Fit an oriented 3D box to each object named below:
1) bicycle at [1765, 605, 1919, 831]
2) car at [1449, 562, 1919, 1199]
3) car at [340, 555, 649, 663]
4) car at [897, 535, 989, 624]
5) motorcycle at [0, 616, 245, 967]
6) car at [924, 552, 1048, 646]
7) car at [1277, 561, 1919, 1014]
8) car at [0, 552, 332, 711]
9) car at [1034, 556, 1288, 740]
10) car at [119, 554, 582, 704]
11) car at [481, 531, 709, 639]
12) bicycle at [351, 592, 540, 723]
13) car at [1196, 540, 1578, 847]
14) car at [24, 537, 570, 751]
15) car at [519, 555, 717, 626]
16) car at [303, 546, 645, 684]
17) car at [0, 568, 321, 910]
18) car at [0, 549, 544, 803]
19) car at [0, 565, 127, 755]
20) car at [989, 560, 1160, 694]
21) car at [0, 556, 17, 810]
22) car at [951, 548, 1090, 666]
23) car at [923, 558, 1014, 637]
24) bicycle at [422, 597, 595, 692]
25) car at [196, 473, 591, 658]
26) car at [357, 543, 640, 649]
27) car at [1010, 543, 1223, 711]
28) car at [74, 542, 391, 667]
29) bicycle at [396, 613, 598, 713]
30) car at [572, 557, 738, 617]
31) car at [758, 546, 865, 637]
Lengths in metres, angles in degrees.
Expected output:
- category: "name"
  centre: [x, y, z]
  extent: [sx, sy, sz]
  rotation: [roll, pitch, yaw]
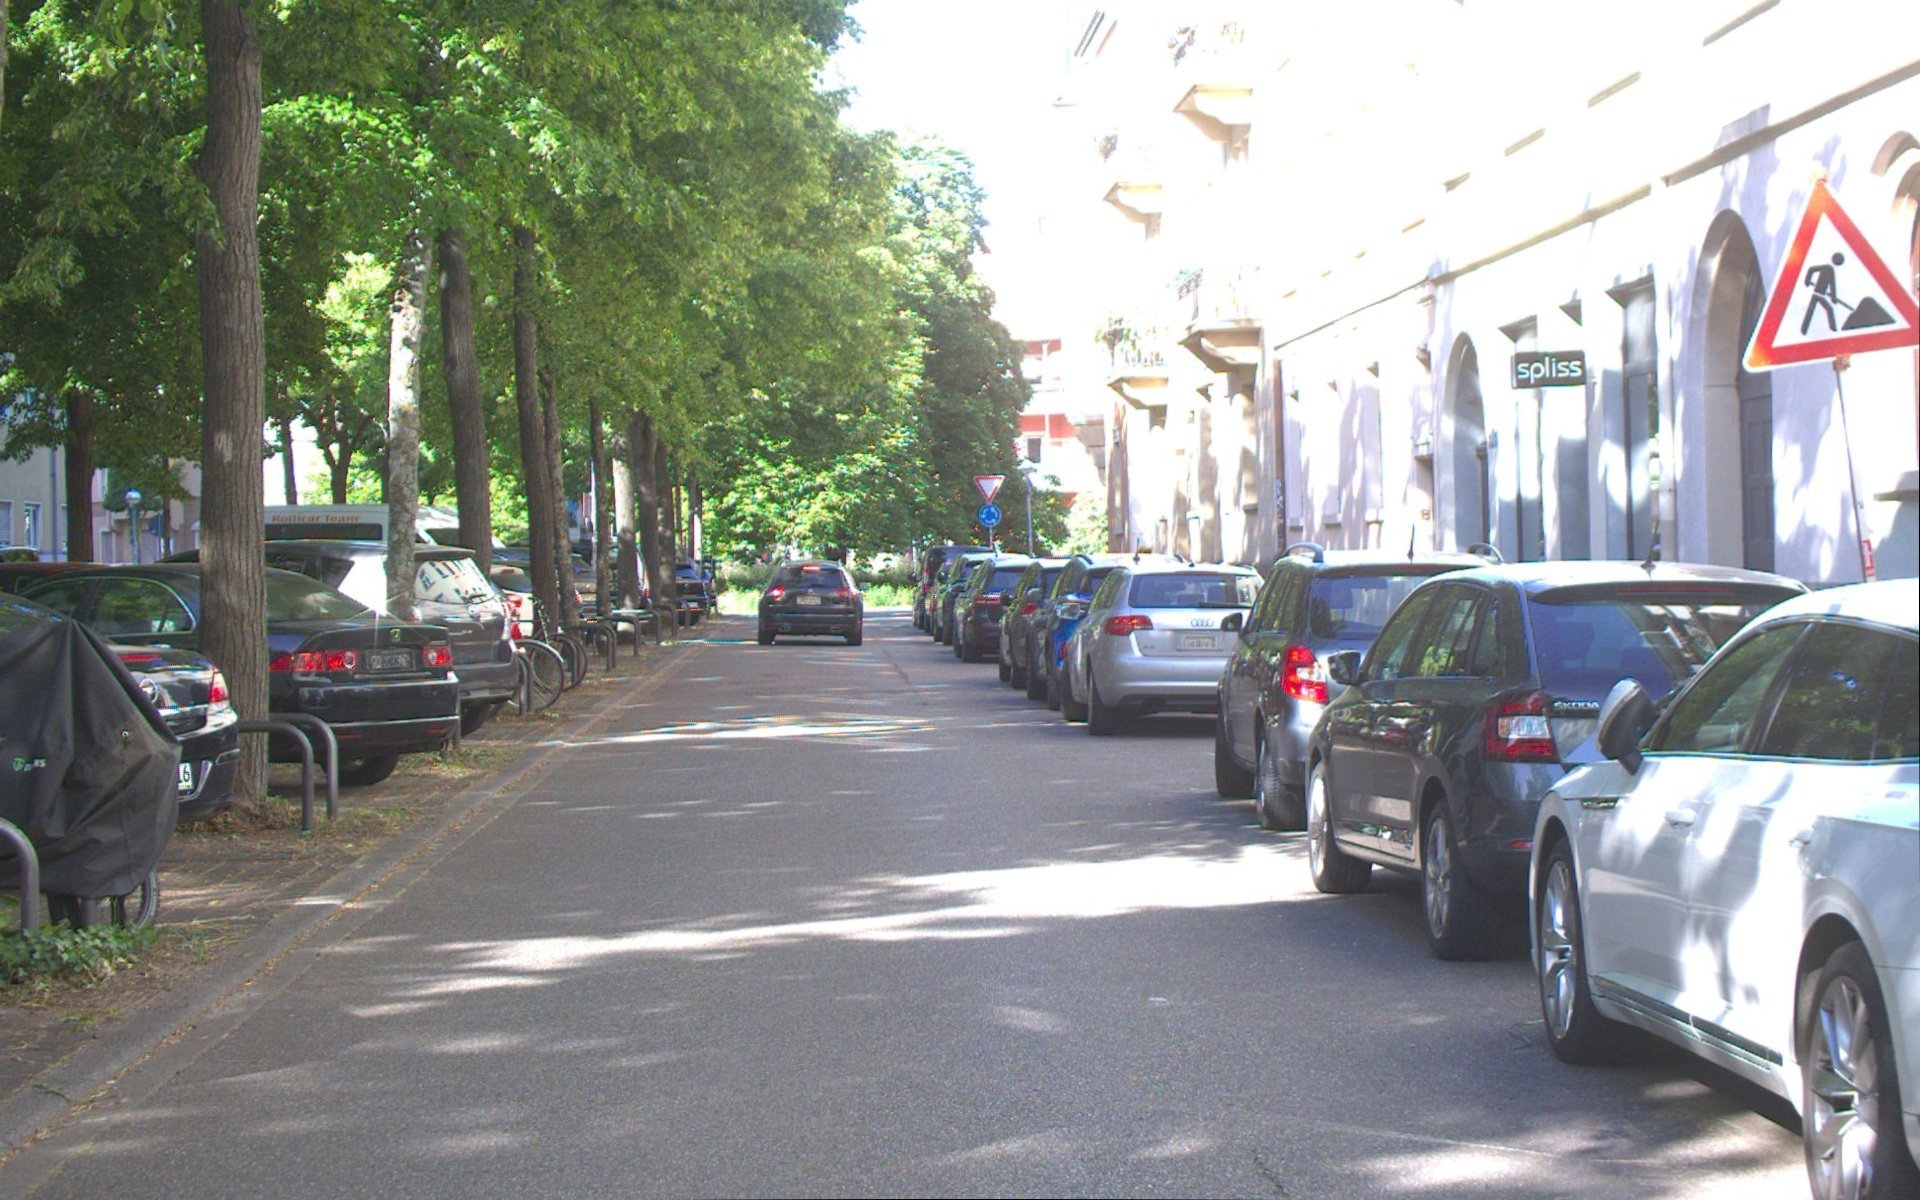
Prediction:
- category: "bicycle"
  centre: [5.155, 0.638, 19.485]
  extent: [0.406, 1.182, 1.849]
  rotation: [-1, 1, -11]
- category: "car"
  centre: [2.459, 0.638, 8.370]
  extent: [1.606, 1.415, 4.569]
  rotation: [-2, 1, -3]
- category: "car"
  centre: [-6.648, 0.135, 49.075]
  extent: [4.102, 1.476, 1.729]
  rotation: [-1, 0, 27]
- category: "car"
  centre: [-0.405, -0.467, 76.147]
  extent: [1.801, 1.864, 4.273]
  rotation: [2, 1, -2]
- category: "motorcycle"
  centre: [-3.841, 0.694, 12.747]
  extent: [2.148, 1.225, 0.881]
  rotation: [-1, 1, 7]
- category: "car"
  centre: [0.435, -0.050, 62.761]
  extent: [1.864, 1.638, 4.492]
  rotation: [0, 1, -5]
- category: "car"
  centre: [2.378, 0.615, 13.722]
  extent: [1.599, 1.487, 3.967]
  rotation: [-2, 1, -3]
- category: "car"
  centre: [-8.390, 0.297, 33.608]
  extent: [4.108, 1.468, 1.869]
  rotation: [-1, 1, 27]
- category: "car"
  centre: [1.672, 0.360, 29.916]
  extent: [1.769, 1.426, 4.291]
  rotation: [-2, 1, -2]
- category: "car"
  centre: [-6.370, 0.260, 35.820]
  extent: [4.620, 1.481, 1.758]
  rotation: [0, 1, 27]
- category: "car"
  centre: [-6.684, -0.265, 62.893]
  extent: [3.846, 1.882, 1.840]
  rotation: [-1, 1, 35]
- category: "bicycle"
  centre: [-4.627, 0.508, 30.922]
  extent: [1.687, 1.155, 0.379]
  rotation: [0, 1, 18]
- category: "car"
  centre: [2.320, 0.450, 19.575]
  extent: [1.580, 1.545, 4.042]
  rotation: [-1, 1, -1]
- category: "car"
  centre: [-5.425, 0.316, 28.124]
  extent: [4.081, 1.647, 1.860]
  rotation: [0, 1, 25]
- category: "car"
  centre: [-7.249, -0.191, 72.648]
  extent: [4.088, 1.461, 1.867]
  rotation: [0, 0, -8]
- category: "car"
  centre: [-5.839, 0.155, 41.318]
  extent: [3.687, 1.590, 1.770]
  rotation: [0, 1, 23]
- category: "car"
  centre: [-5.172, 0.598, 16.114]
  extent: [4.150, 1.420, 1.712]
  rotation: [-1, 0, 30]
- category: "car"
  centre: [-4.767, 0.484, 22.079]
  extent: [4.014, 1.469, 1.623]
  rotation: [-2, 1, 33]
- category: "car"
  centre: [-8.625, 0.446, 26.547]
  extent: [4.192, 1.386, 1.815]
  rotation: [0, 1, 31]
- category: "car"
  centre: [1.270, 0.272, 39.702]
  extent: [1.692, 1.463, 4.005]
  rotation: [0, 1, -2]
- category: "car"
  centre: [-7.740, 0.501, 20.098]
  extent: [3.991, 1.481, 1.828]
  rotation: [0, 0, 21]
- category: "car"
  centre: [0.828, 0.060, 49.632]
  extent: [1.805, 1.558, 4.321]
  rotation: [-2, 1, -1]
- category: "car"
  centre: [0.151, -0.078, 70.859]
  extent: [1.645, 1.532, 4.000]
  rotation: [2, 1, -3]
- category: "bicycle"
  centre: [-4.912, 0.483, 37.384]
  extent: [1.812, 0.990, 0.425]
  rotation: [-1, 0, 13]
- category: "car"
  centre: [-9.730, -0.571, 59.207]
  extent: [6.068, 2.614, 2.454]
  rotation: [-5, -1, 14]
- category: "car"
  centre: [-7.370, -0.088, 54.865]
  extent: [4.268, 1.636, 1.653]
  rotation: [1, 1, 26]
- category: "car"
  centre: [1.517, 0.227, 34.713]
  extent: [1.767, 1.546, 4.184]
  rotation: [-2, 1, -2]
- category: "car"
  centre: [-9.895, 0.059, 46.722]
  extent: [3.909, 1.550, 1.843]
  rotation: [-2, 1, 29]
- category: "bicycle"
  centre: [-4.360, 0.583, 32.345]
  extent: [1.899, 0.916, 0.379]
  rotation: [0, 1, 18]
- category: "car"
  centre: [-7.829, -0.326, 88.007]
  extent: [4.137, 1.476, 1.772]
  rotation: [-1, 0, 38]
- category: "car"
  centre: [-2.587, -0.177, 60.679]
  extent: [1.714, 1.478, 4.145]
  rotation: [-2, 1, -1]
